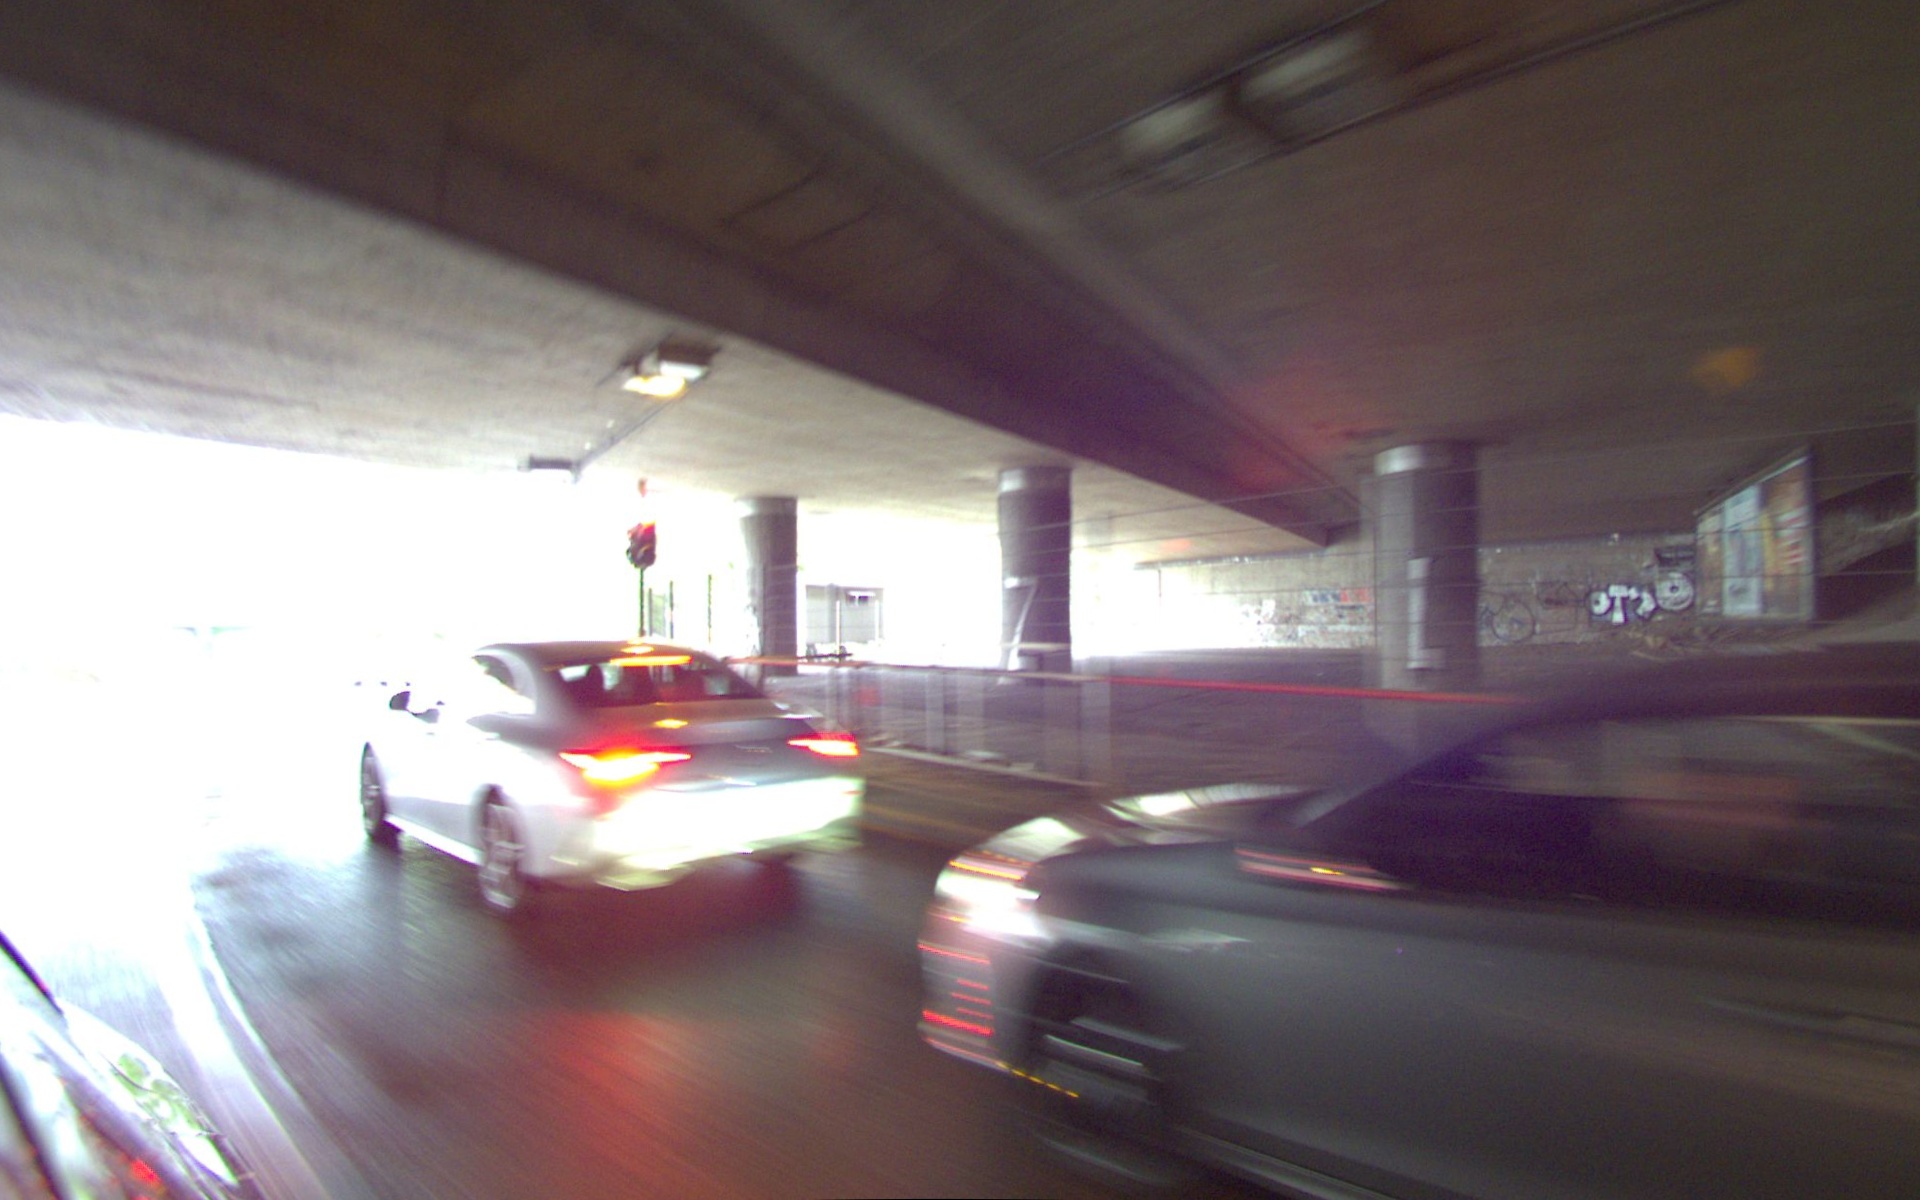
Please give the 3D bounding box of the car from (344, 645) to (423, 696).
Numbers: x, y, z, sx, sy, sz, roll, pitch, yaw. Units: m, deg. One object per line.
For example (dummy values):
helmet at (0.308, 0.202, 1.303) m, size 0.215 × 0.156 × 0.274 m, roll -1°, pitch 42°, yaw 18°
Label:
car at (-18.876, 2.297, 33.286) m, size 1.679 × 1.569 × 4.012 m, roll 0°, pitch -3°, yaw -22°

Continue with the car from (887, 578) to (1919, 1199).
car at (1.963, 0.732, 2.441) m, size 4.103 × 1.476 × 1.973 m, roll -1°, pitch -2°, yaw 41°

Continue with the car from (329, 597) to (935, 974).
car at (-2.383, 0.864, 6.492) m, size 1.970 × 1.542 × 4.504 m, roll 2°, pitch -4°, yaw -43°
